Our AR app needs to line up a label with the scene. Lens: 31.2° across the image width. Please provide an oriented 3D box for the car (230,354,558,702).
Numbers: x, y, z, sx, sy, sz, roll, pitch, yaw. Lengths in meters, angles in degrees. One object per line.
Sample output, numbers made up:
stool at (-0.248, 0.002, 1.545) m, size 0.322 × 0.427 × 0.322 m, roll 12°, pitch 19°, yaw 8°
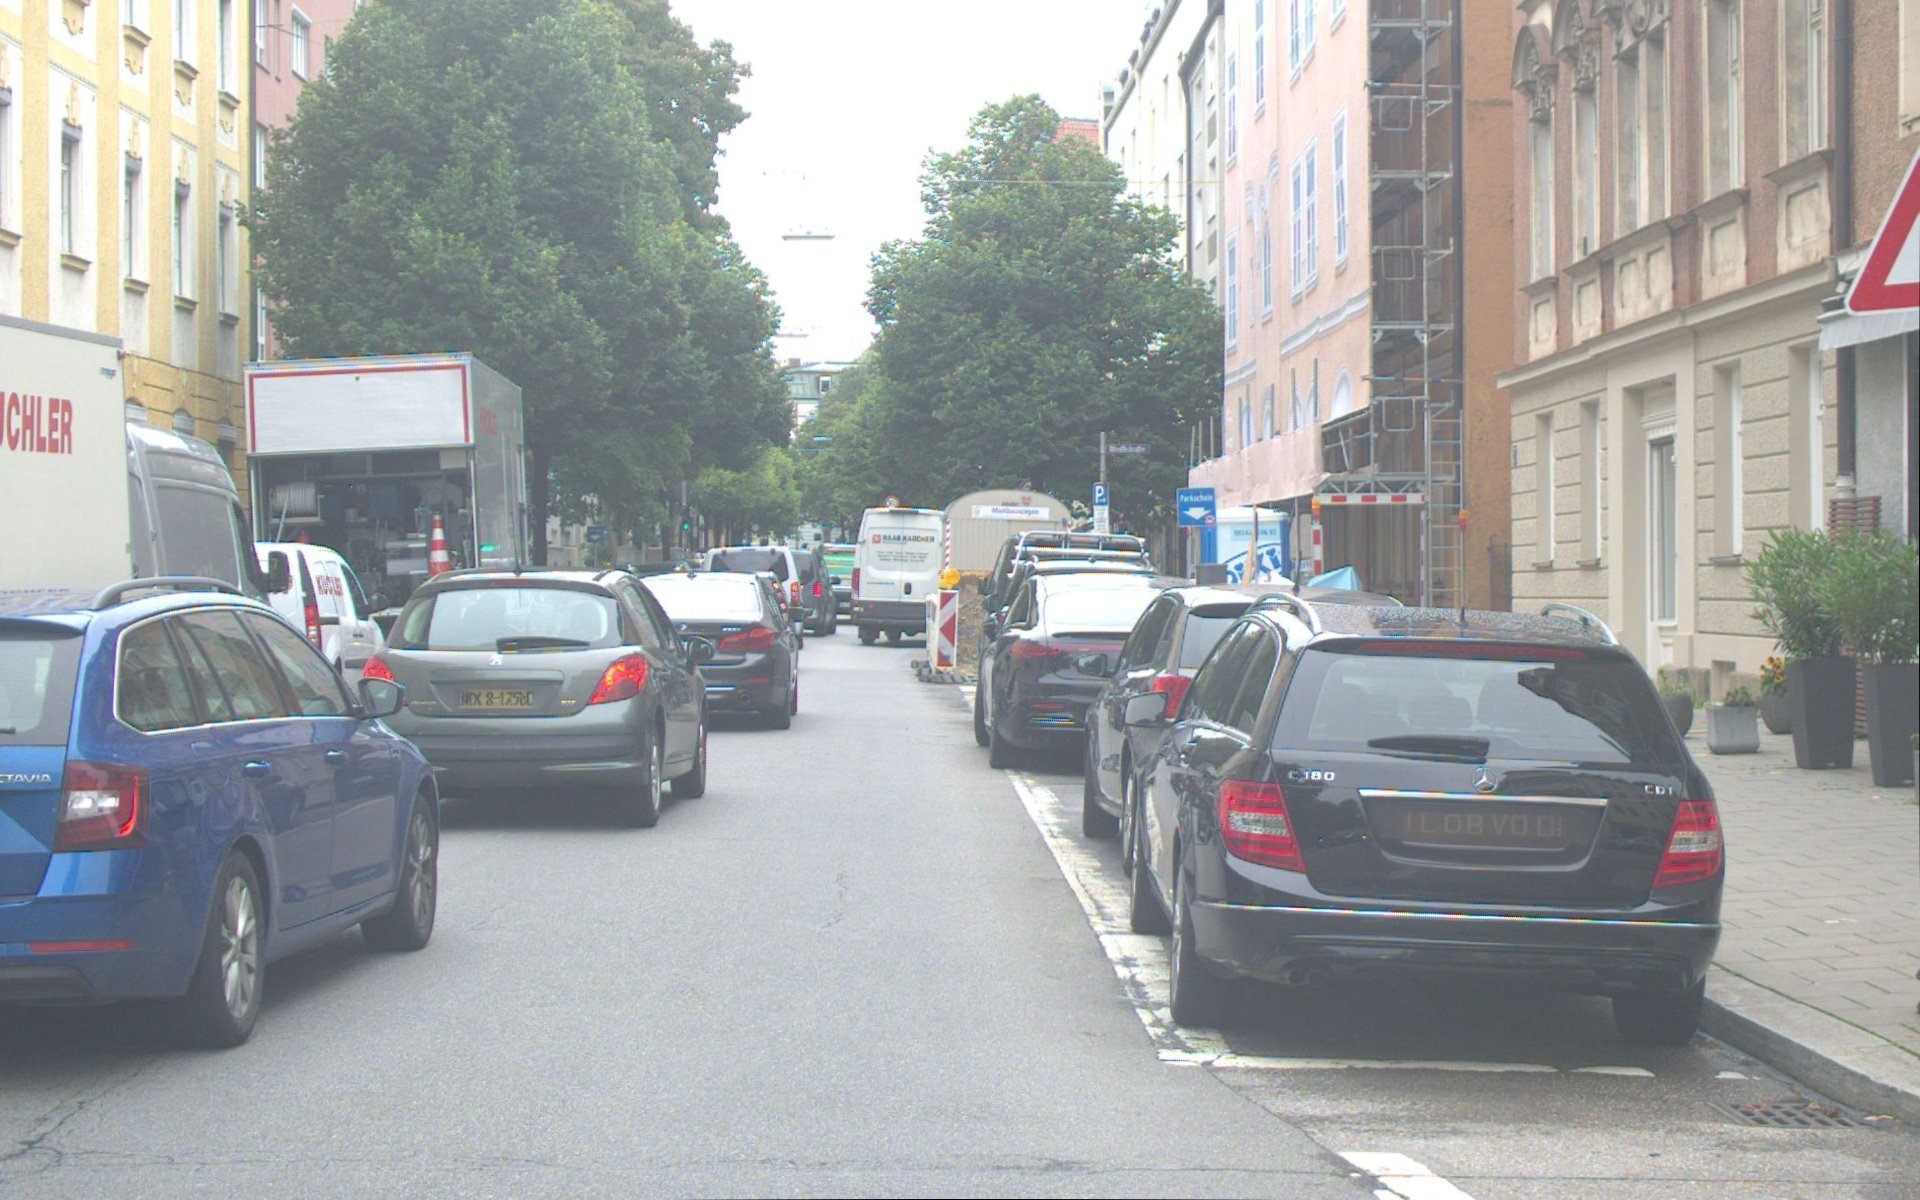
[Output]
car at (-6.719, -0.821, 42.097) m, size 2.812 × 3.804 × 8.724 m, roll 0°, pitch 0°, yaw -2°

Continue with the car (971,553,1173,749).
car at (1.016, 0.458, 33.102) m, size 1.693 × 1.671 × 4.408 m, roll 3°, pitch 0°, yaw 0°

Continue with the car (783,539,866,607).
car at (-3.444, -0.704, 87.328) m, size 2.007 × 1.647 × 4.348 m, roll 1°, pitch 1°, yaw -2°

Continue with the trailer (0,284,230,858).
trailer at (-6.339, -0.119, 18.833) m, size 2.804 × 2.959 × 7.600 m, roll -3°, pitch 1°, yaw 1°

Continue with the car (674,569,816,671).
car at (-3.090, 0.260, 50.062) m, size 1.867 × 1.343 × 4.348 m, roll 1°, pitch 1°, yaw -1°

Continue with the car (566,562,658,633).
car at (-7.556, -0.077, 74.895) m, size 1.812 × 1.473 × 4.001 m, roll 1°, pitch 1°, yaw -3°

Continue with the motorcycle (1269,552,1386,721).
motorcycle at (3.366, 0.321, 31.619) m, size 0.871 × 1.499 × 1.997 m, roll 0°, pitch 0°, yaw 1°

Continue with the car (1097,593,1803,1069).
car at (1.579, 0.695, 12.787) m, size 1.846 × 1.400 × 4.788 m, roll 0°, pitch 0°, yaw -1°

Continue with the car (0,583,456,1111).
car at (-3.028, 0.679, 11.735) m, size 1.789 × 1.455 × 4.314 m, roll 0°, pitch 0°, yaw 3°

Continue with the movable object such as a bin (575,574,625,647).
movable object such as a bin at (-7.013, 0.200, 67.087) m, size 0.918 × 1.372 × 1.080 m, roll -2°, pitch 1°, yaw -5°

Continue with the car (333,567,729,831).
car at (-2.448, 0.526, 20.428) m, size 1.741 × 1.417 × 3.663 m, roll 0°, pitch 0°, yaw 3°

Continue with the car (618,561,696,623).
car at (-7.518, -0.212, 85.631) m, size 1.812 × 1.473 × 4.001 m, roll 1°, pitch 1°, yaw -3°

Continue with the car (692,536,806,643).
car at (-3.841, -0.221, 63.142) m, size 1.867 × 1.863 × 4.348 m, roll 1°, pitch 1°, yaw -1°

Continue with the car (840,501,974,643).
car at (-1.004, -0.531, 68.409) m, size 2.113 × 2.654 × 5.499 m, roll 1°, pitch 0°, yaw 4°

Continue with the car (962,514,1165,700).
car at (1.109, 0.150, 39.186) m, size 2.082 × 1.914 × 5.140 m, roll 1°, pitch -2°, yaw 0°

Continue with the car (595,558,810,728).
car at (-2.389, 0.355, 32.815) m, size 1.867 × 1.449 × 4.348 m, roll 1°, pitch 1°, yaw -2°

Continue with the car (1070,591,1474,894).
car at (1.513, 0.656, 18.004) m, size 1.572 × 1.390 × 4.183 m, roll 0°, pitch 0°, yaw -2°

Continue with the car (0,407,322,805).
car at (-6.548, 0.038, 26.333) m, size 2.056 × 2.578 × 6.877 m, roll -4°, pitch 1°, yaw -2°

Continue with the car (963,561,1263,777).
car at (1.116, 0.468, 27.781) m, size 1.931 × 1.548 × 5.637 m, roll 1°, pitch 1°, yaw -2°

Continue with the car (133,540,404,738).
car at (-6.708, 0.342, 33.756) m, size 1.763 × 1.773 × 4.327 m, roll -2°, pitch 0°, yaw 0°

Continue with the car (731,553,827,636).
car at (-3.823, -0.141, 73.167) m, size 1.867 × 1.647 × 4.348 m, roll 1°, pitch 1°, yaw -1°

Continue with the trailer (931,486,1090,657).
trailer at (0.817, -0.488, 61.351) m, size 2.502 × 2.830 × 6.901 m, roll 1°, pitch 0°, yaw -1°
